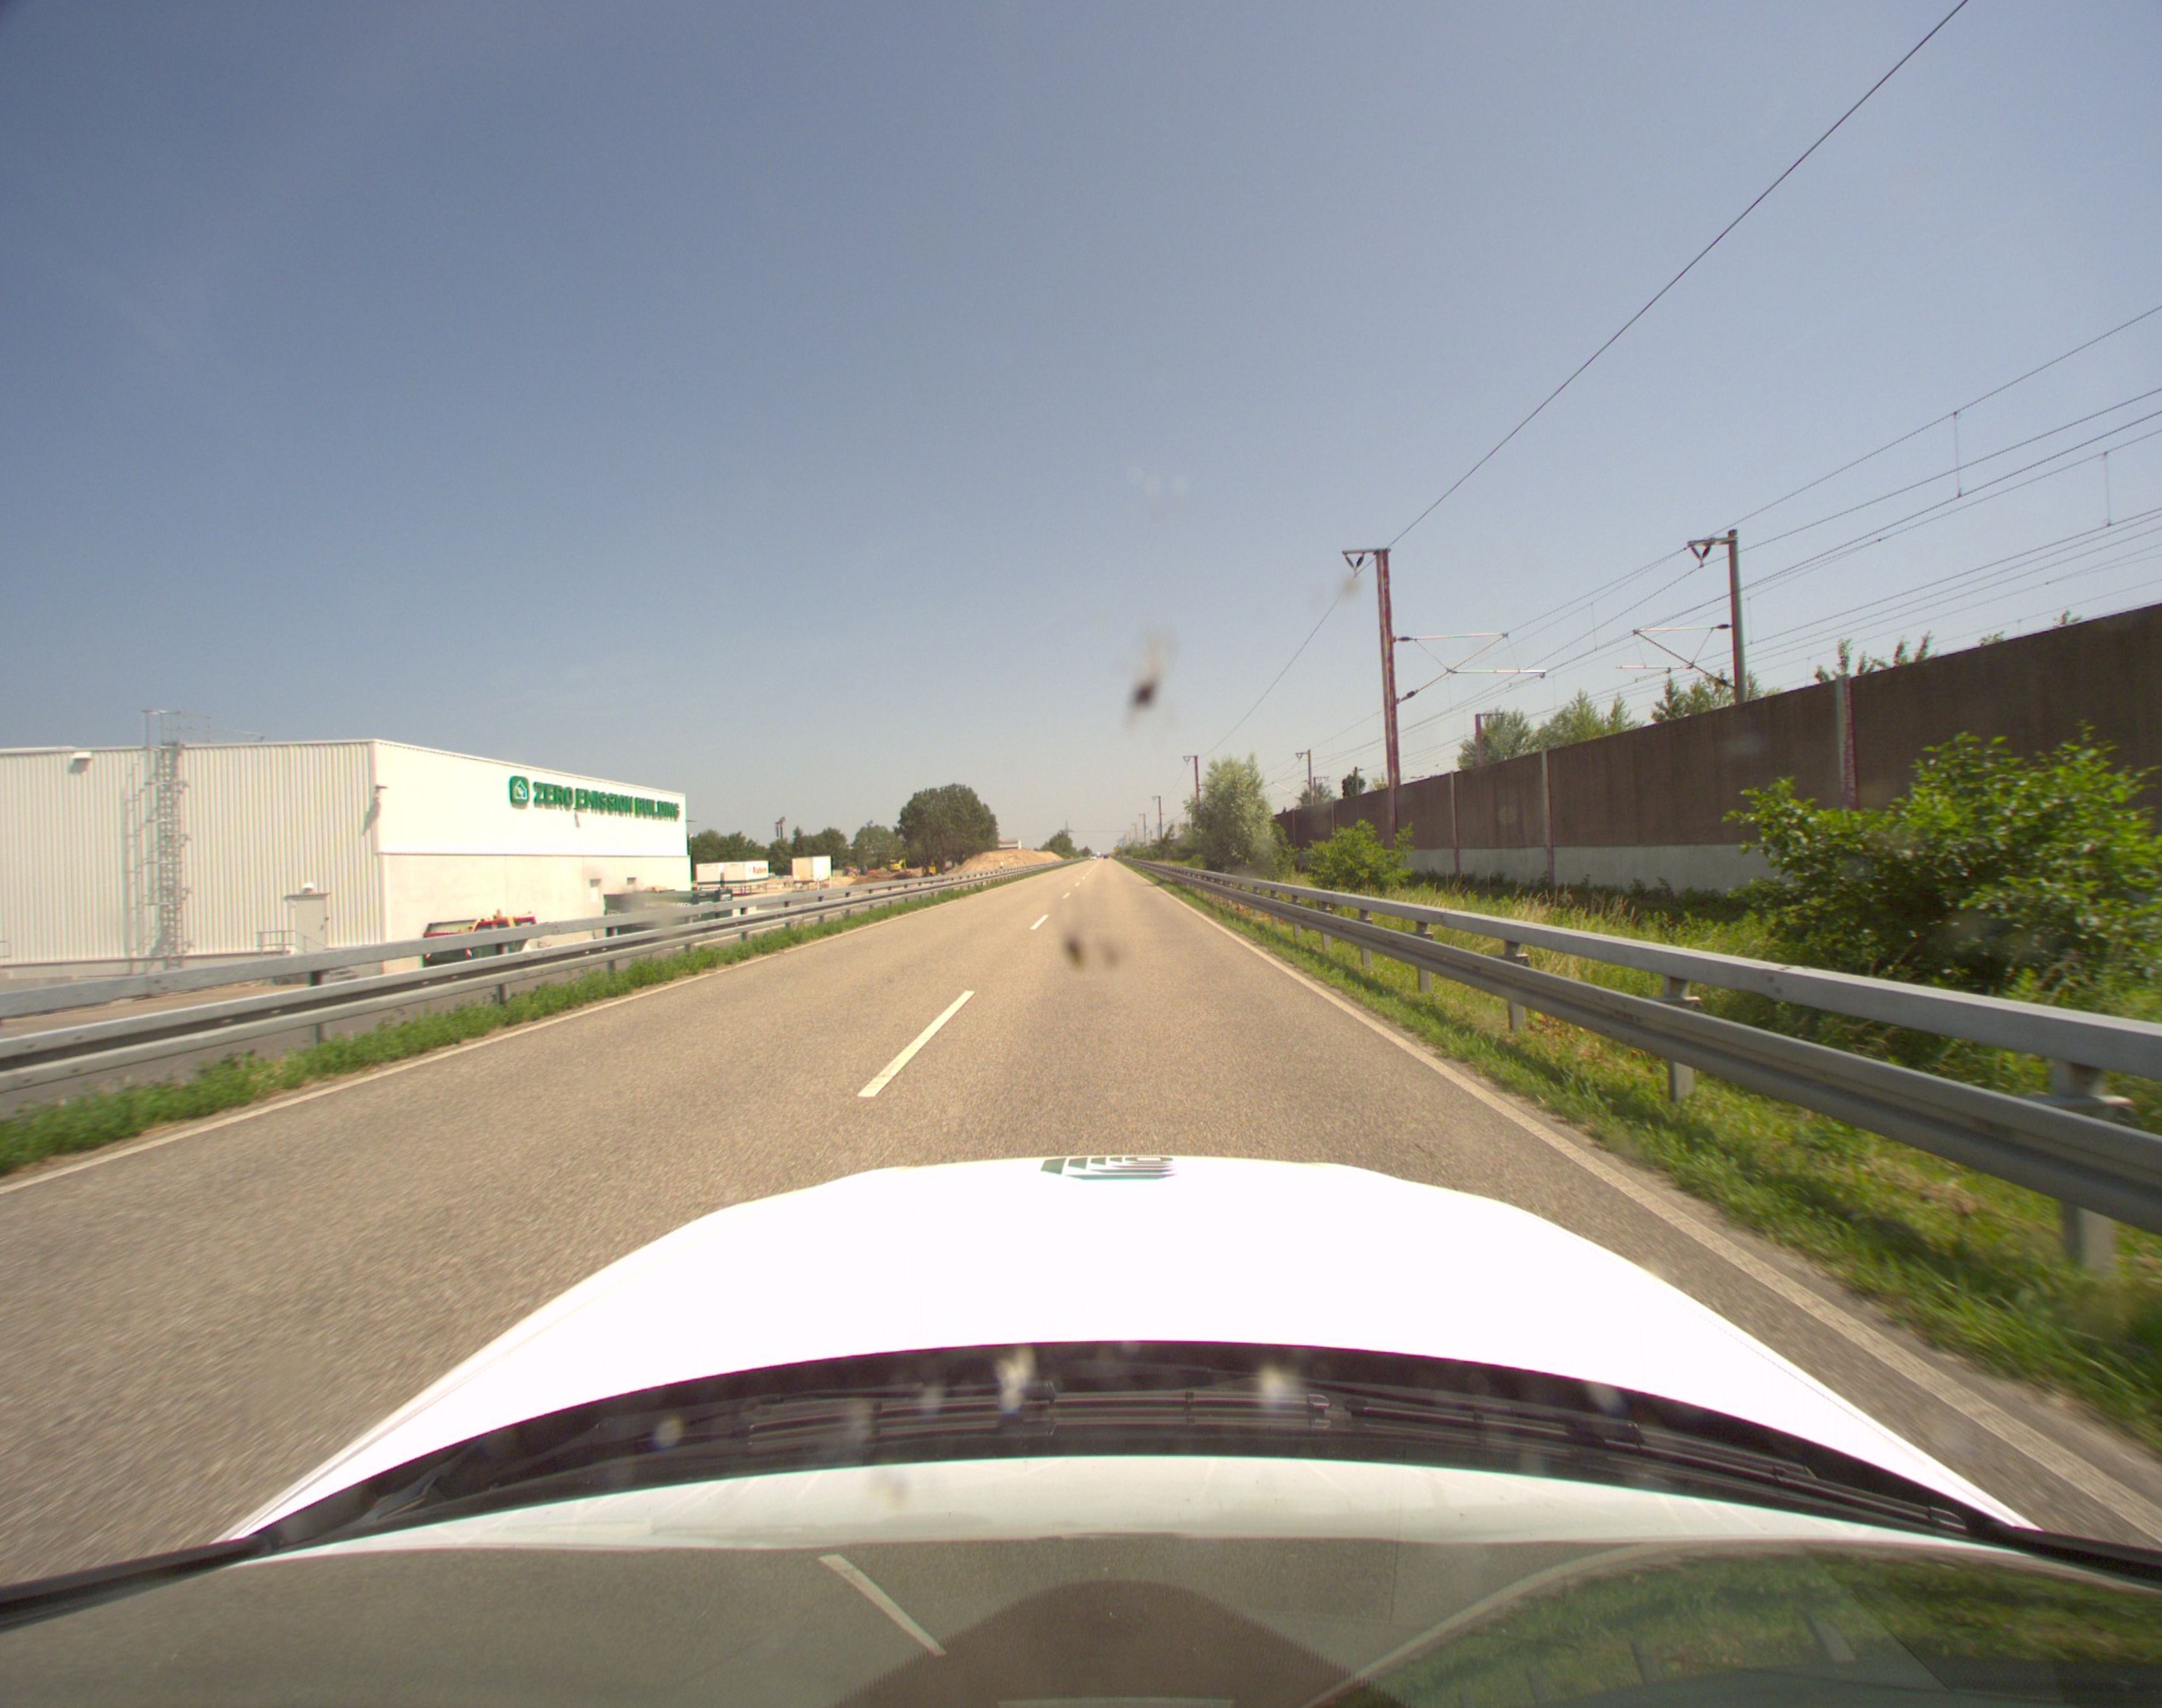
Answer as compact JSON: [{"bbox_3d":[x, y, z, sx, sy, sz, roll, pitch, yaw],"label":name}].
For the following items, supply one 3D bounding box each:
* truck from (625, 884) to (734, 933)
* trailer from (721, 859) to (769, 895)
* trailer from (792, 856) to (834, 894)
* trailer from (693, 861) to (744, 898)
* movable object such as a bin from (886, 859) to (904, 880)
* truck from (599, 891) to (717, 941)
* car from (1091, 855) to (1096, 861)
[{"bbox_3d":[-22.804,3.064,46.428,5.033,2.537,2.271,-1,-1,-3],"label":"truck"},{"bbox_3d":[-41.062,2.738,99.797,2.736,4.147,7.894,-1,0,-1],"label":"trailer"},{"bbox_3d":[-32.761,2.463,99.795,2.672,4.332,7.946,-1,0,-2],"label":"trailer"},{"bbox_3d":[-44.114,3.023,99.458,2.846,4.219,7.535,-1,0,-1],"label":"trailer"},{"bbox_3d":[-34.463,2.894,151.085,2.627,3.652,5.428,-4,0,-17],"label":"movable object such as a bin"},{"bbox_3d":[-22.119,3.240,42.728,4.990,2.333,2.233,-1,0,1],"label":"truck"},{"bbox_3d":[3.657,1.116,241.559,1.590,1.576,3.828,-1,0,1],"label":"car"}]
